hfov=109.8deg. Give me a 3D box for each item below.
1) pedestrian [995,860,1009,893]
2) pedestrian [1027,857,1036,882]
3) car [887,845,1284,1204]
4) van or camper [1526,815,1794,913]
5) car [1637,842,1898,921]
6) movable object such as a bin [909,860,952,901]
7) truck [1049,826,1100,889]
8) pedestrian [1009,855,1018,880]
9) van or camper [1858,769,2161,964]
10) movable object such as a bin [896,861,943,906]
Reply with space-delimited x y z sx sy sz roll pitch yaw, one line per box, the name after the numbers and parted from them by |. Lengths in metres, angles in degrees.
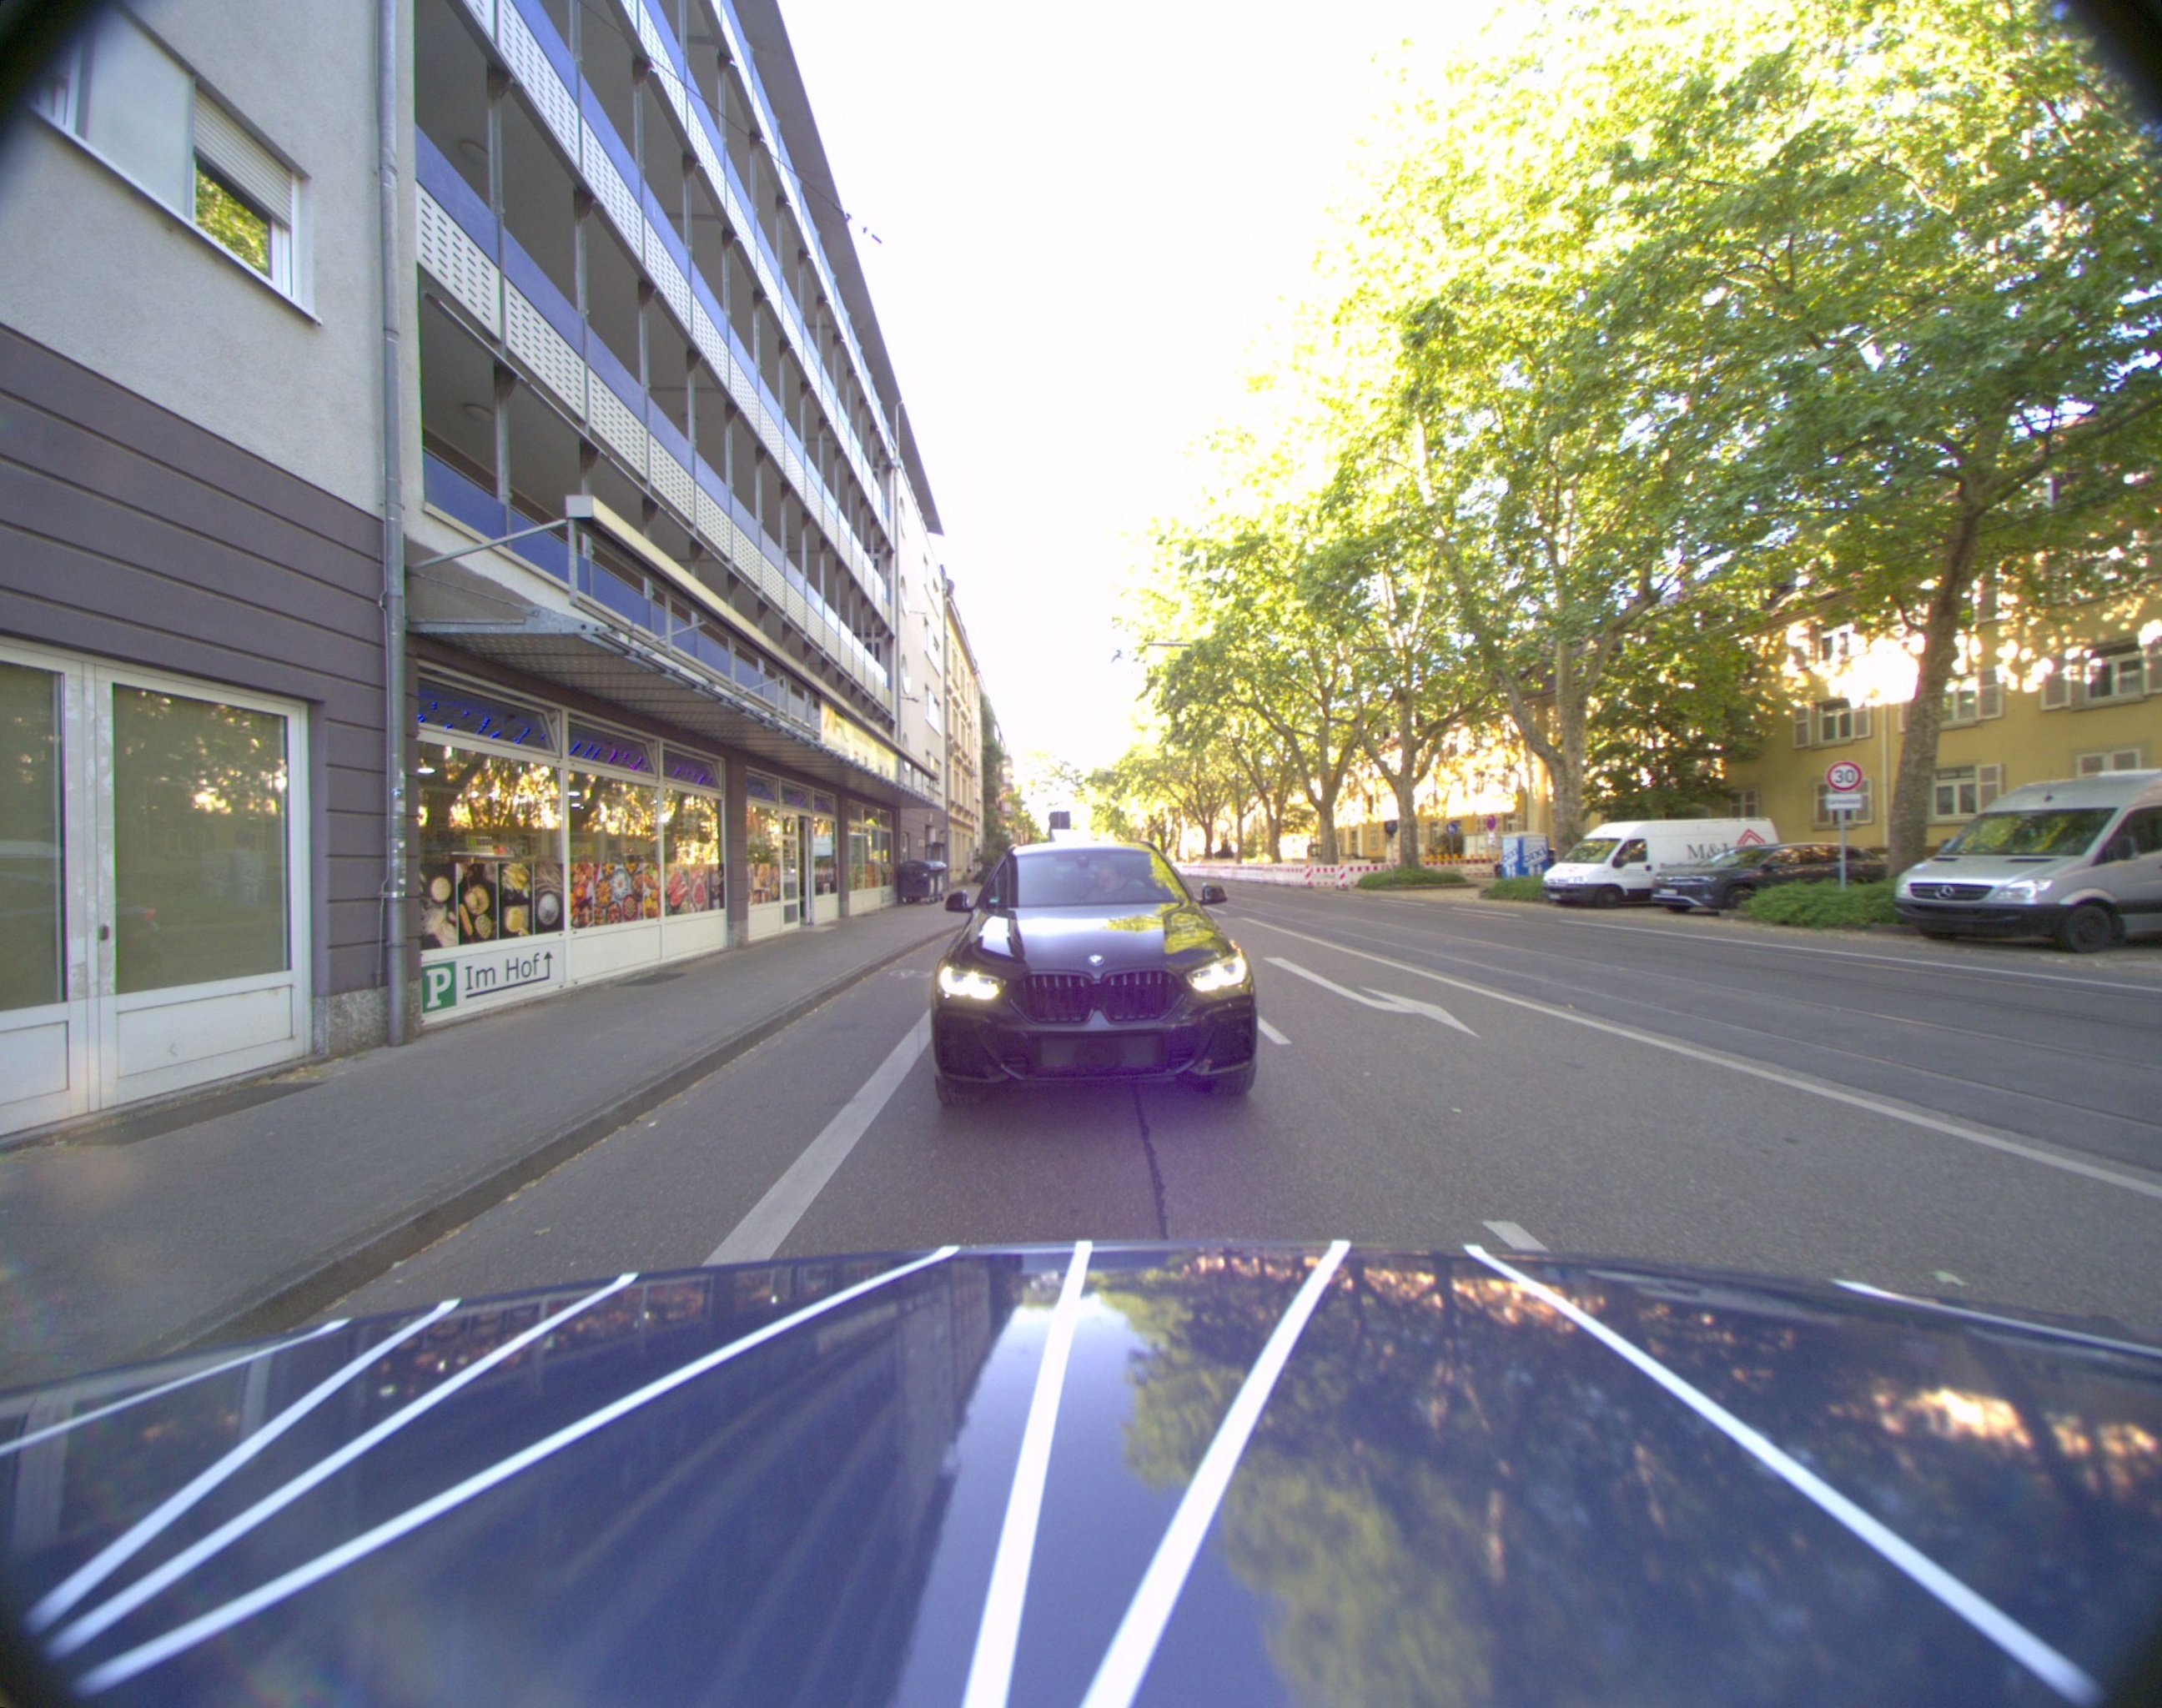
-3.546 1.013 34.193 0.541 1.437 0.630 -1 0 1 | pedestrian
-3.296 1.028 50.992 0.541 1.662 0.630 -1 0 1 | pedestrian
0.065 0.839 6.155 1.930 1.742 4.683 -2 1 1 | car
15.869 0.247 21.076 5.763 2.371 2.156 -2 1 0 | van or camper
15.991 0.609 17.865 4.540 1.624 1.693 -2 1 1 | car
-5.285 0.928 26.836 1.203 1.402 1.372 -1 0 1 | movable object such as a bin
-0.447 0.149 41.086 2.344 3.095 5.210 -2 1 -4 | truck
-4.670 0.931 52.770 0.541 1.662 0.513 -1 0 1 | pedestrian
16.002 0.090 11.669 5.931 2.633 2.156 -2 1 0 | van or camper
-5.260 0.949 24.836 1.203 1.402 1.372 -1 0 1 | movable object such as a bin
